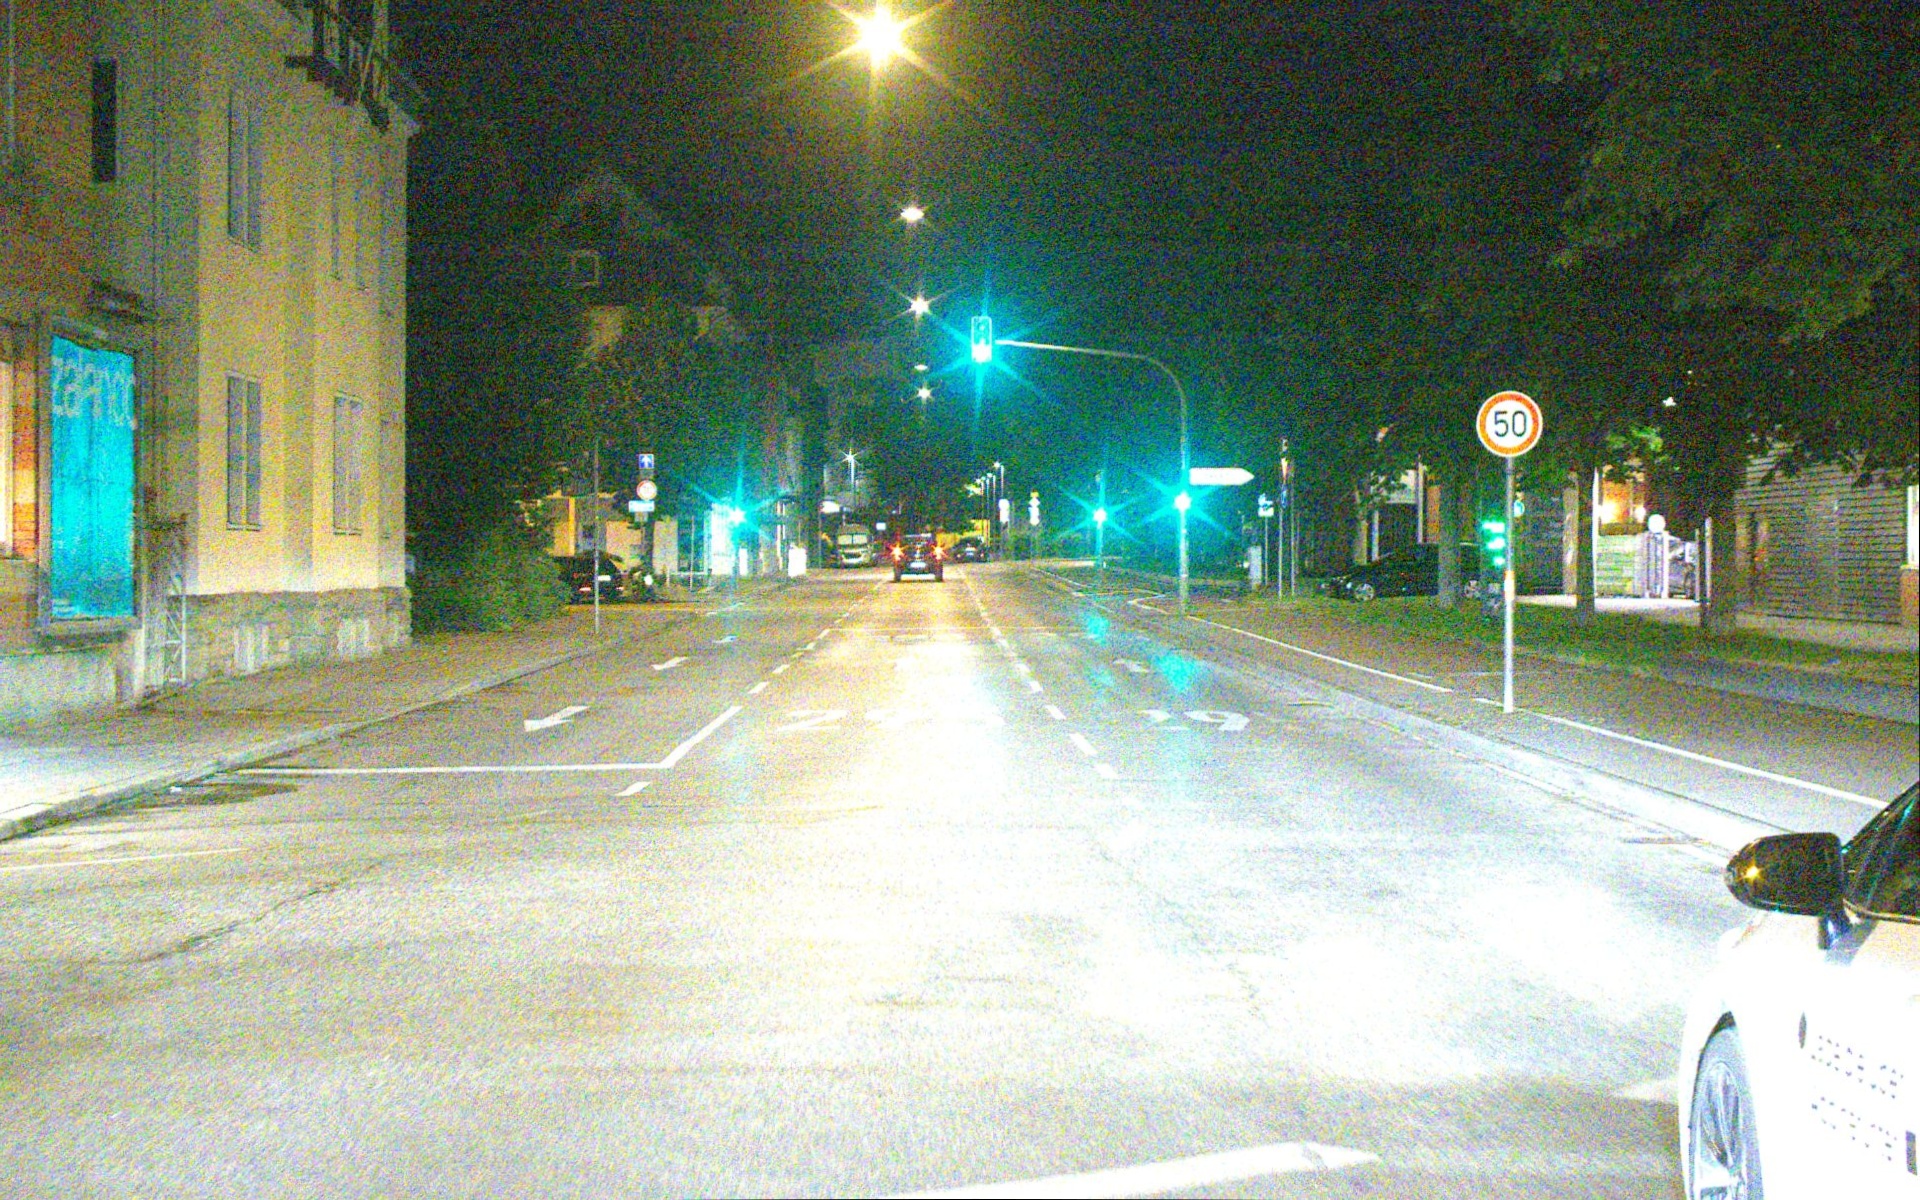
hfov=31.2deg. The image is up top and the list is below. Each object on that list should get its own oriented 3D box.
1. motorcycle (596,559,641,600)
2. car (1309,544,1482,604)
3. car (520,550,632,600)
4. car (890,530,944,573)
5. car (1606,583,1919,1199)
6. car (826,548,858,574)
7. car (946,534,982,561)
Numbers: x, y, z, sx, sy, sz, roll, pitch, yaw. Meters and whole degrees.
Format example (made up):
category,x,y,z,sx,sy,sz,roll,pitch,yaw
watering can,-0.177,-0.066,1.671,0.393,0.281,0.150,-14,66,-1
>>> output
category,x,y,z,sx,sy,sz,roll,pitch,yaw
motorcycle,-10.097,-0.610,101.546,0.781,1.200,2.450,-1,1,-19
car,10.466,-0.631,82.809,3.987,1.382,1.771,-1,1,3
car,-11.687,-0.763,104.481,1.803,1.481,4.000,-1,1,-32
car,-1.701,-1.887,133.944,1.993,1.634,4.000,0,1,-2
car,2.315,0.735,5.182,1.729,1.430,4.211,2,1,-2
car,-6.714,-2.222,195.232,1.777,1.385,4.001,-1,1,-2
car,0.240,-3.212,210.025,1.993,1.590,4.001,-1,1,-3
